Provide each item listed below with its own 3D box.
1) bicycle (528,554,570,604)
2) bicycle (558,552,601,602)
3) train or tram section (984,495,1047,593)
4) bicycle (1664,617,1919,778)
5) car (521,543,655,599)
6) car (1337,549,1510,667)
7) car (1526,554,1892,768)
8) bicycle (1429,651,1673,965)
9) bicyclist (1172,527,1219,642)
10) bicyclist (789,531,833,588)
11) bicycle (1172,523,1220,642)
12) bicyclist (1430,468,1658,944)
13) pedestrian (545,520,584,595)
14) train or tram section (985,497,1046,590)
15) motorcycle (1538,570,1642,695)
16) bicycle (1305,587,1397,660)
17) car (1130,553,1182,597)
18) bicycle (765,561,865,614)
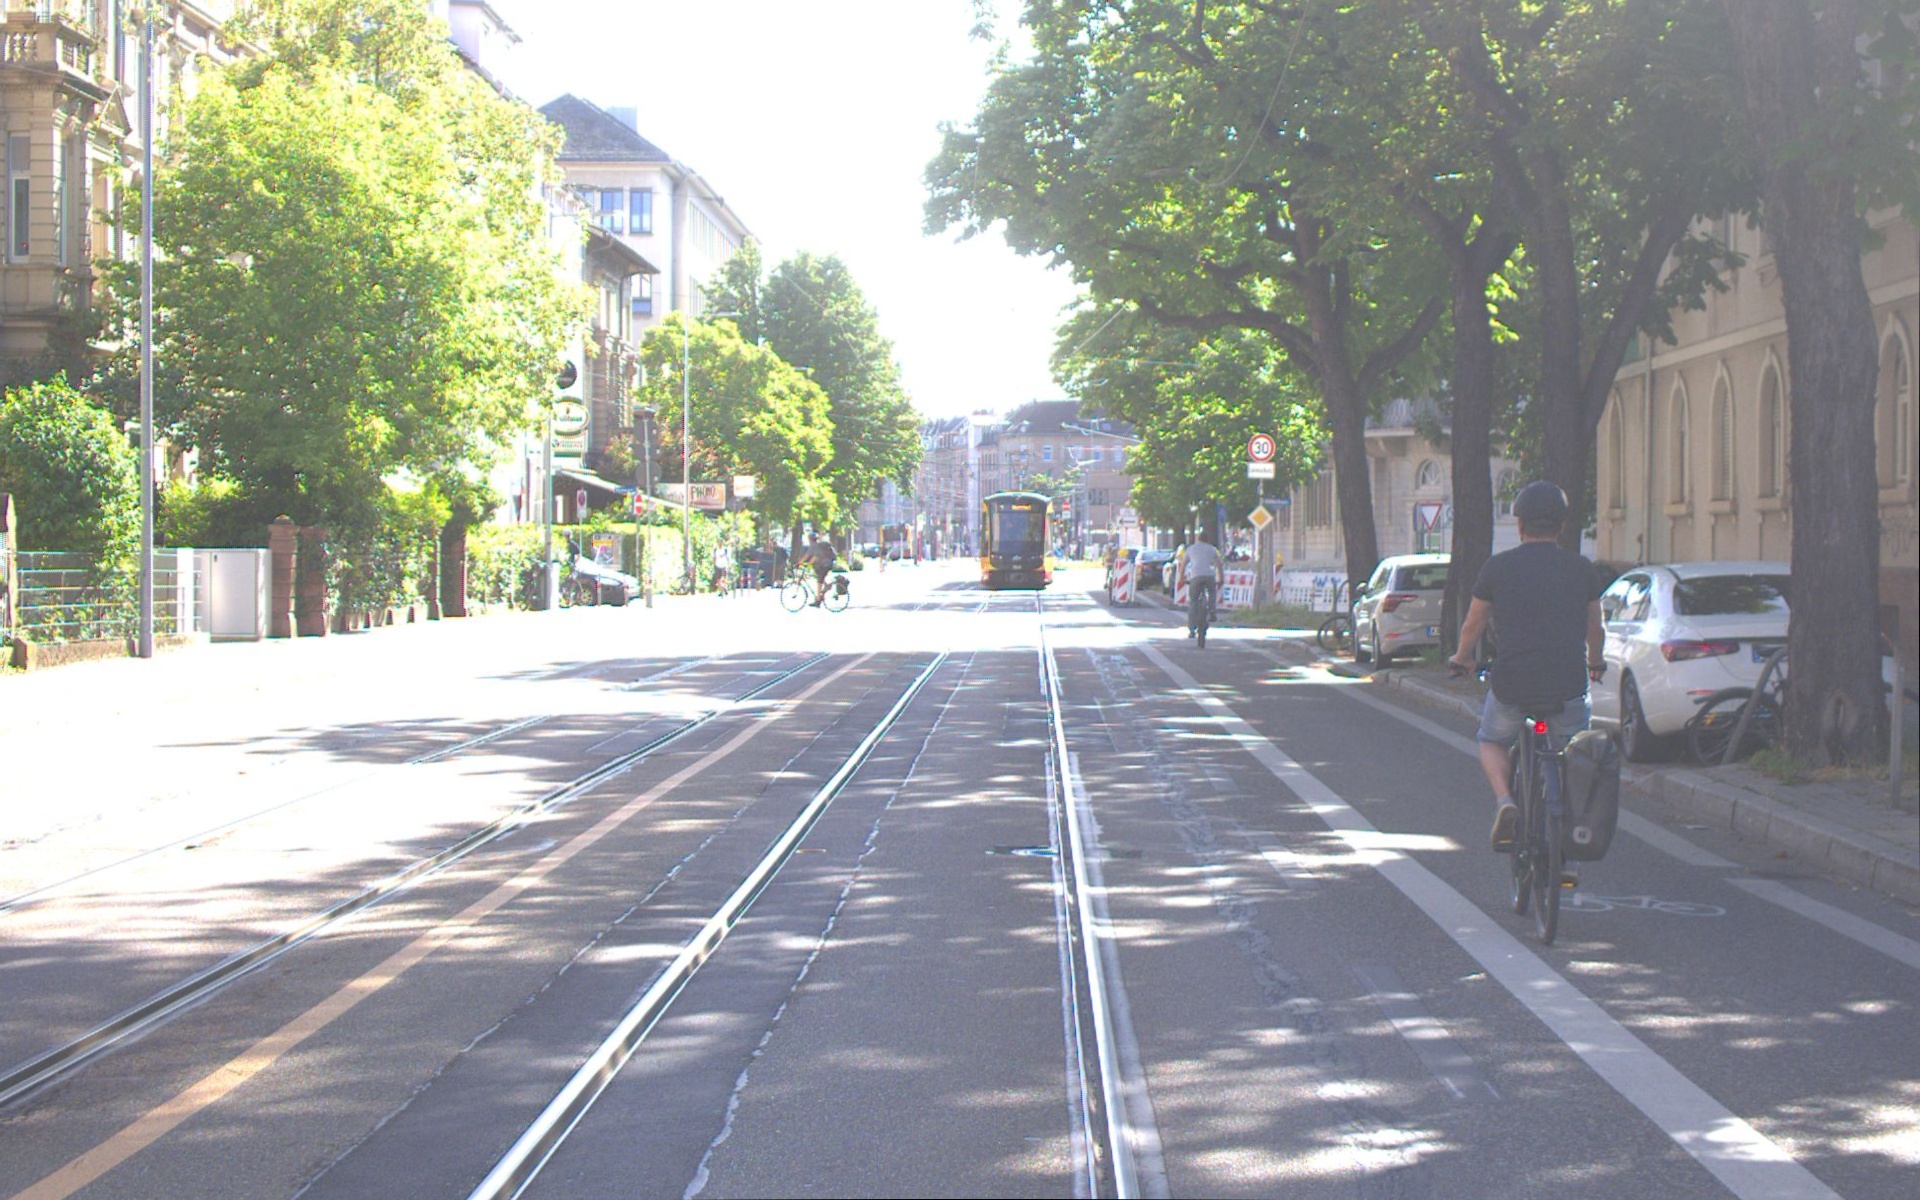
[{"bbox_3d":[-9.093,-0.471,76.077,0.632,1.065,1.832,1,1,-15],"label":"bicycle"},{"bbox_3d":[-8.501,-0.513,76.767,0.632,1.065,1.832,1,1,-17],"label":"bicycle"},{"bbox_3d":[2.007,-2.047,124.519,2.153,3.420,6.611,2,1,1],"label":"train or tram section"},{"bbox_3d":[5.781,0.659,23.472,1.792,1.016,0.620,-2,1,1],"label":"bicycle"},{"bbox_3d":[-9.657,-0.734,89.079,1.755,1.415,3.579,1,-1,-39],"label":"car"},{"bbox_3d":[6.012,0.070,44.980,1.748,1.415,4.000,-1,1,1],"label":"car"},{"bbox_3d":[5.599,0.393,26.263,1.628,1.431,4.665,-1,1,-2],"label":"car"},{"bbox_3d":[2.351,0.798,13.854,0.692,1.108,1.718,2,1,1],"label":"bicycle"},{"bbox_3d":[3.733,-0.259,54.461,0.645,1.789,0.956,2,1,1],"label":"bicyclist"},{"bbox_3d":[-3.434,-0.942,79.183,0.773,1.287,0.732,2,1,18],"label":"bicyclist"},{"bbox_3d":[3.777,-0.291,55.172,0.663,1.853,2.260,2,1,2],"label":"bicycle"},{"bbox_3d":[2.343,0.407,13.870,0.727,1.842,0.837,2,1,1],"label":"bicyclist"},{"bbox_3d":[-9.081,-0.985,78.990,0.770,1.706,0.669,2,1,1],"label":"pedestrian"},{"bbox_3d":[2.121,-2.174,131.150,2.153,3.420,6.611,2,1,1],"label":"train or tram section"},{"bbox_3d":[6.639,0.324,36.317,0.710,1.239,2.185,-1,1,1],"label":"motorcycle"},{"bbox_3d":[5.741,0.337,50.424,1.270,1.020,0.704,2,0,9],"label":"bicycle"},{"bbox_3d":[7.262,-0.942,127.692,1.754,1.546,3.677,1,1,1],"label":"car"},{"bbox_3d":[-3.341,-0.294,79.187,2.141,1.167,0.802,2,1,17],"label":"bicycle"}]
